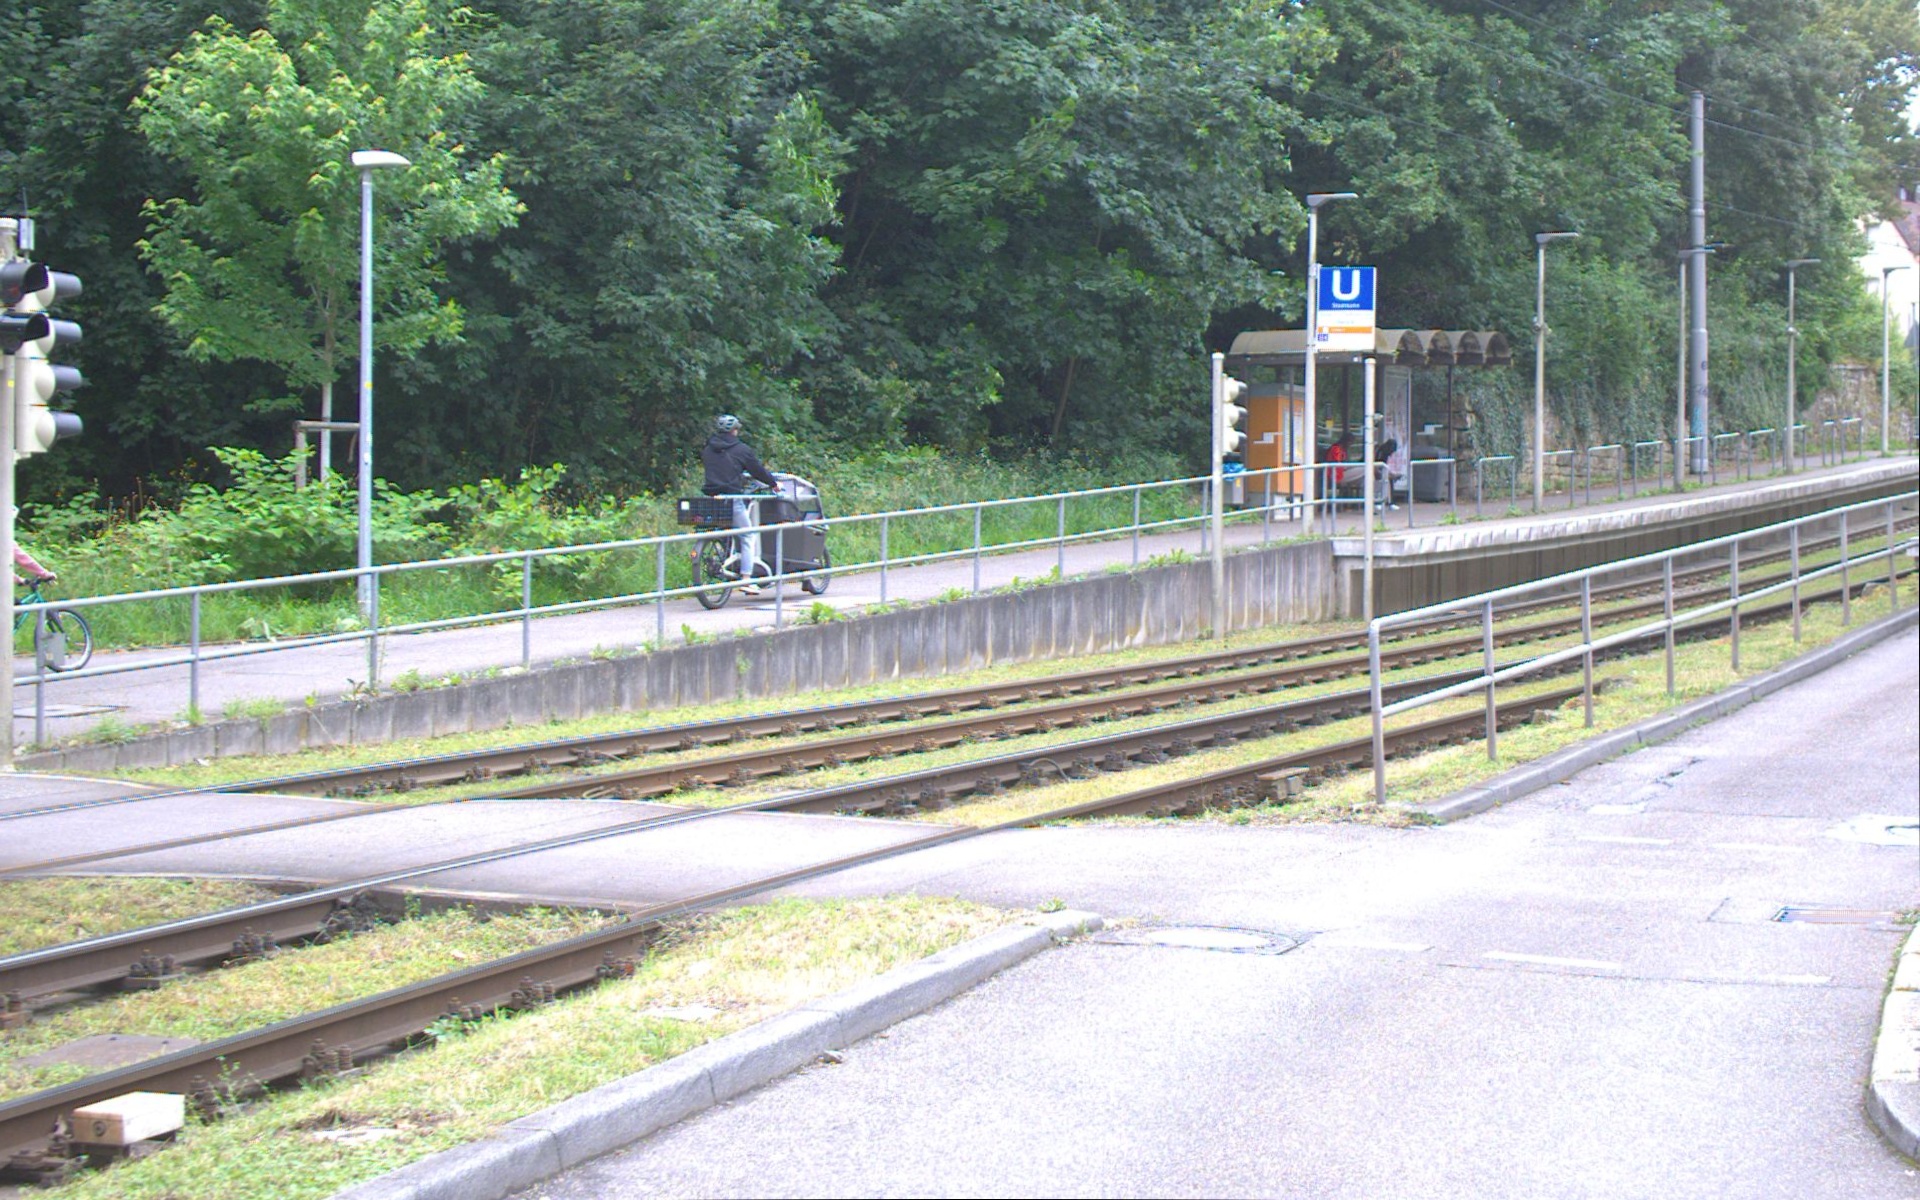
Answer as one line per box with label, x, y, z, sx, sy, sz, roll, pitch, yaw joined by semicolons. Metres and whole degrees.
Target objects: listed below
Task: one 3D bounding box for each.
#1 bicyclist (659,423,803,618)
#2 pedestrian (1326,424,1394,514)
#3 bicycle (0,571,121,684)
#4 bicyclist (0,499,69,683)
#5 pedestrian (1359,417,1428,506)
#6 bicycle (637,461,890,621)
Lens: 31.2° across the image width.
bicyclist;-2.124;-0.759;31.977;0.734;1.705;1.291;4;6;28
pedestrian;6.067;-1.996;52.131;0.773;1.321;0.786;4;5;25
bicycle;-6.998;0.216;25.307;1.555;0.736;0.455;-5;8;-42
bicyclist;-6.947;-0.072;25.328;0.579;1.296;0.455;-5;8;-42
pedestrian;6.704;-2.133;53.176;0.773;1.321;0.786;4;2;25
bicycle;-1.816;-0.600;32.583;0.734;1.285;3.342;4;6;28
